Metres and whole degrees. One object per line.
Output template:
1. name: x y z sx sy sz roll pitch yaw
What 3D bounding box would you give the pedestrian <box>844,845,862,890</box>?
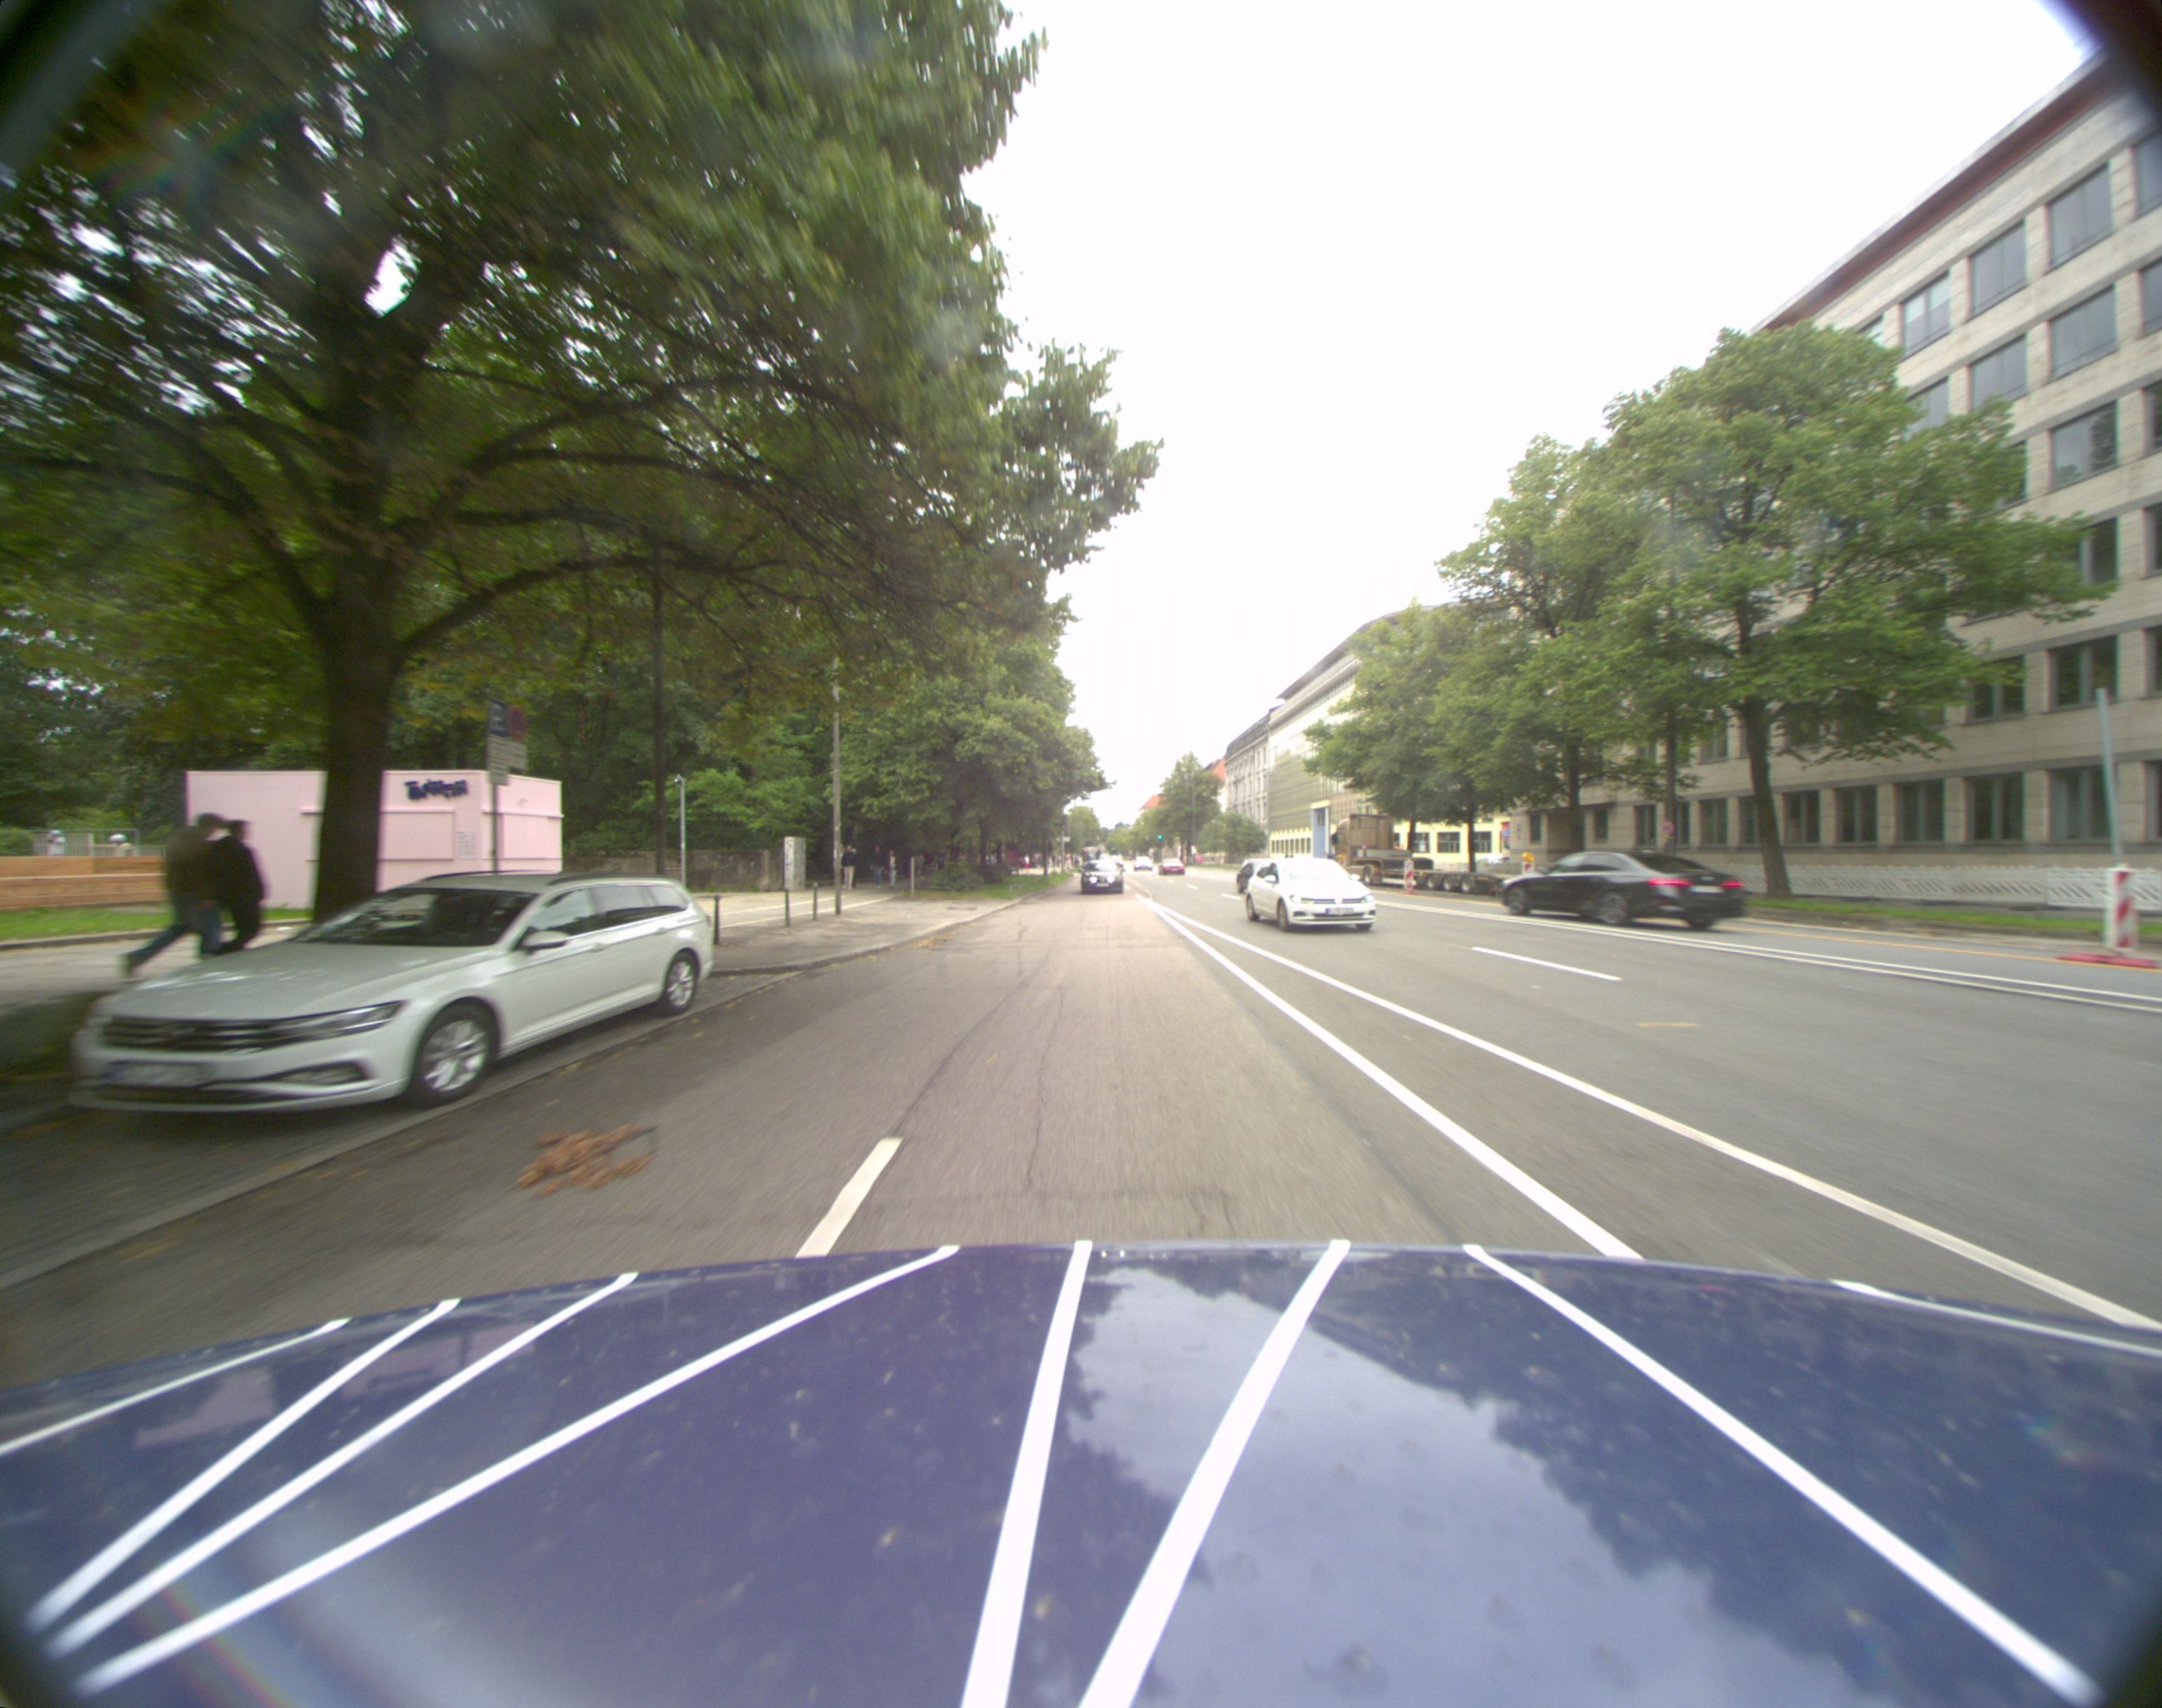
1. pedestrian: -9.170 0.532 30.568 0.597 1.798 0.723 1 1 -23

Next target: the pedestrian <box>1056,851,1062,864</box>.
1. pedestrian: -3.209 0.485 111.371 0.710 1.904 0.956 -2 1 1

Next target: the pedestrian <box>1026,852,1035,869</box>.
1. pedestrian: -5.029 0.608 76.030 0.728 1.681 0.648 -2 1 6

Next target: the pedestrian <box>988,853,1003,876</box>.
1. pedestrian: -6.322 0.771 56.222 0.755 1.634 0.851 -2 1 16

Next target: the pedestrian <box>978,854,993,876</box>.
1. pedestrian: -7.118 0.796 56.436 0.755 1.634 0.851 -2 1 16

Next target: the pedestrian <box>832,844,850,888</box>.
1. pedestrian: -9.934 0.483 31.412 0.597 1.798 0.723 1 1 -23

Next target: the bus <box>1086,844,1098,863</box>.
1. bus: 1.512 -0.052 108.129 1.638 2.570 6.702 0 0 1

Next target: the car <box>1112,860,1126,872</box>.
1. car: 4.854 1.510 97.354 1.638 1.562 3.946 0 0 1

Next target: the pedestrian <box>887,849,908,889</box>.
1. pedestrian: -7.915 0.641 32.815 0.609 1.671 0.754 -2 1 5

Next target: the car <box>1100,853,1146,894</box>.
1. car: 1.778 0.772 33.048 1.797 1.627 4.274 0 1 0

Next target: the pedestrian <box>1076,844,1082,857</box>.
1. pedestrian: -0.246 -0.496 102.814 0.710 1.798 0.639 -2 1 1

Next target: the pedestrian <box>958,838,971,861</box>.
1. pedestrian: -7.770 -0.277 50.591 0.682 1.506 0.562 -2 1 2

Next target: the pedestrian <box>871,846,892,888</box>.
1. pedestrian: -8.602 0.555 32.783 0.609 1.753 0.797 -2 1 5

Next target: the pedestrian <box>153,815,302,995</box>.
1. pedestrian: -9.472 0.541 8.462 0.701 1.899 0.771 -2 1 2

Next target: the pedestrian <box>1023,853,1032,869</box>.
1. pedestrian: -5.481 0.713 78.292 0.694 1.642 0.610 -2 1 -32

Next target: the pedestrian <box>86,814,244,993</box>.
1. pedestrian: -10.258 0.535 8.541 0.765 1.899 0.771 -2 1 2

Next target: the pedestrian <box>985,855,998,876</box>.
1. pedestrian: -7.227 0.951 61.498 0.755 1.634 0.651 -2 1 16

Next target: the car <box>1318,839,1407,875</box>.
1. car: 20.494 0.205 55.368 5.696 2.522 2.156 0 0 -3

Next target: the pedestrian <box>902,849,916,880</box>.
1. pedestrian: -9.475 0.569 41.905 0.581 1.666 0.553 -2 1 5

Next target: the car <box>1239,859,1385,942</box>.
1. car: 4.672 0.872 16.039 1.797 1.439 4.274 0 0 0

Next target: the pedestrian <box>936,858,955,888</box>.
1. pedestrian: -7.998 1.090 44.921 0.755 1.727 0.851 -2 1 16

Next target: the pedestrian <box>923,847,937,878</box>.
1. pedestrian: -8.876 0.489 44.616 0.589 1.812 0.850 -2 1 2

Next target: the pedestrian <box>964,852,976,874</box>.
1. pedestrian: -9.329 0.755 63.956 0.694 1.862 0.610 -2 1 -34

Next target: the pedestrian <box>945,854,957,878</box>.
1. pedestrian: -8.757 0.824 51.281 0.682 1.628 0.601 0 1 2

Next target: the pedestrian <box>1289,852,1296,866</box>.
1. pedestrian: 25.779 0.599 92.633 0.617 1.766 0.836 -2 1 1

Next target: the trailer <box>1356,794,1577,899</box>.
1. trailer: 16.175 -0.289 33.507 2.958 3.718 11.765 -2 0 -4

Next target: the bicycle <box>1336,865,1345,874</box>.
1. bicycle: 26.899 1.572 78.771 0.478 0.872 1.737 0 0 4

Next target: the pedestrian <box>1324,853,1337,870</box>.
1. pedestrian: 25.220 0.743 76.752 0.992 1.723 0.816 -1 1 32

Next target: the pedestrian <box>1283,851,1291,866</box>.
1. pedestrian: 25.127 0.551 92.636 0.617 1.766 0.836 -2 1 1

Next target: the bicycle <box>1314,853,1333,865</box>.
1. bicycle: 28.042 0.614 87.791 2.014 1.311 0.638 -2 1 -5

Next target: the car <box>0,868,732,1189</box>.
1. car: -4.963 0.945 6.300 1.832 1.540 4.751 0 0 2

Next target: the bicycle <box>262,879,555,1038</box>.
1. bicycle: -6.577 0.926 7.719 0.630 1.224 2.618 -2 0 -1

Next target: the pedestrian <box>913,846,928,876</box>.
1. pedestrian: -9.702 0.407 45.908 0.632 1.763 0.782 -2 1 5

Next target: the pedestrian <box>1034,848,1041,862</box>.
1. pedestrian: -5.303 0.171 93.158 0.728 1.681 0.648 -2 1 6

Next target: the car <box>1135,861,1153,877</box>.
1. car: 6.465 1.561 78.423 1.638 1.562 3.946 0 0 1

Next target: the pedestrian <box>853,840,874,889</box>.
1. pedestrian: -9.071 0.437 31.683 0.595 2.002 0.724 1 1 2

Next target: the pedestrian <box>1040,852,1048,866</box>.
1. pedestrian: -4.531 0.599 93.091 0.728 1.681 0.648 -2 1 6

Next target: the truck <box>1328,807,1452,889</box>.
1. truck: 15.779 -0.285 39.581 2.924 3.752 7.663 -2 0 -3

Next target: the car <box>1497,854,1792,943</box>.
1. car: 10.919 0.746 15.385 1.882 1.457 5.214 0 0 -3

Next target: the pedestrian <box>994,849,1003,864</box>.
1. pedestrian: -9.085 0.271 83.570 0.814 1.681 0.729 -1 1 3
